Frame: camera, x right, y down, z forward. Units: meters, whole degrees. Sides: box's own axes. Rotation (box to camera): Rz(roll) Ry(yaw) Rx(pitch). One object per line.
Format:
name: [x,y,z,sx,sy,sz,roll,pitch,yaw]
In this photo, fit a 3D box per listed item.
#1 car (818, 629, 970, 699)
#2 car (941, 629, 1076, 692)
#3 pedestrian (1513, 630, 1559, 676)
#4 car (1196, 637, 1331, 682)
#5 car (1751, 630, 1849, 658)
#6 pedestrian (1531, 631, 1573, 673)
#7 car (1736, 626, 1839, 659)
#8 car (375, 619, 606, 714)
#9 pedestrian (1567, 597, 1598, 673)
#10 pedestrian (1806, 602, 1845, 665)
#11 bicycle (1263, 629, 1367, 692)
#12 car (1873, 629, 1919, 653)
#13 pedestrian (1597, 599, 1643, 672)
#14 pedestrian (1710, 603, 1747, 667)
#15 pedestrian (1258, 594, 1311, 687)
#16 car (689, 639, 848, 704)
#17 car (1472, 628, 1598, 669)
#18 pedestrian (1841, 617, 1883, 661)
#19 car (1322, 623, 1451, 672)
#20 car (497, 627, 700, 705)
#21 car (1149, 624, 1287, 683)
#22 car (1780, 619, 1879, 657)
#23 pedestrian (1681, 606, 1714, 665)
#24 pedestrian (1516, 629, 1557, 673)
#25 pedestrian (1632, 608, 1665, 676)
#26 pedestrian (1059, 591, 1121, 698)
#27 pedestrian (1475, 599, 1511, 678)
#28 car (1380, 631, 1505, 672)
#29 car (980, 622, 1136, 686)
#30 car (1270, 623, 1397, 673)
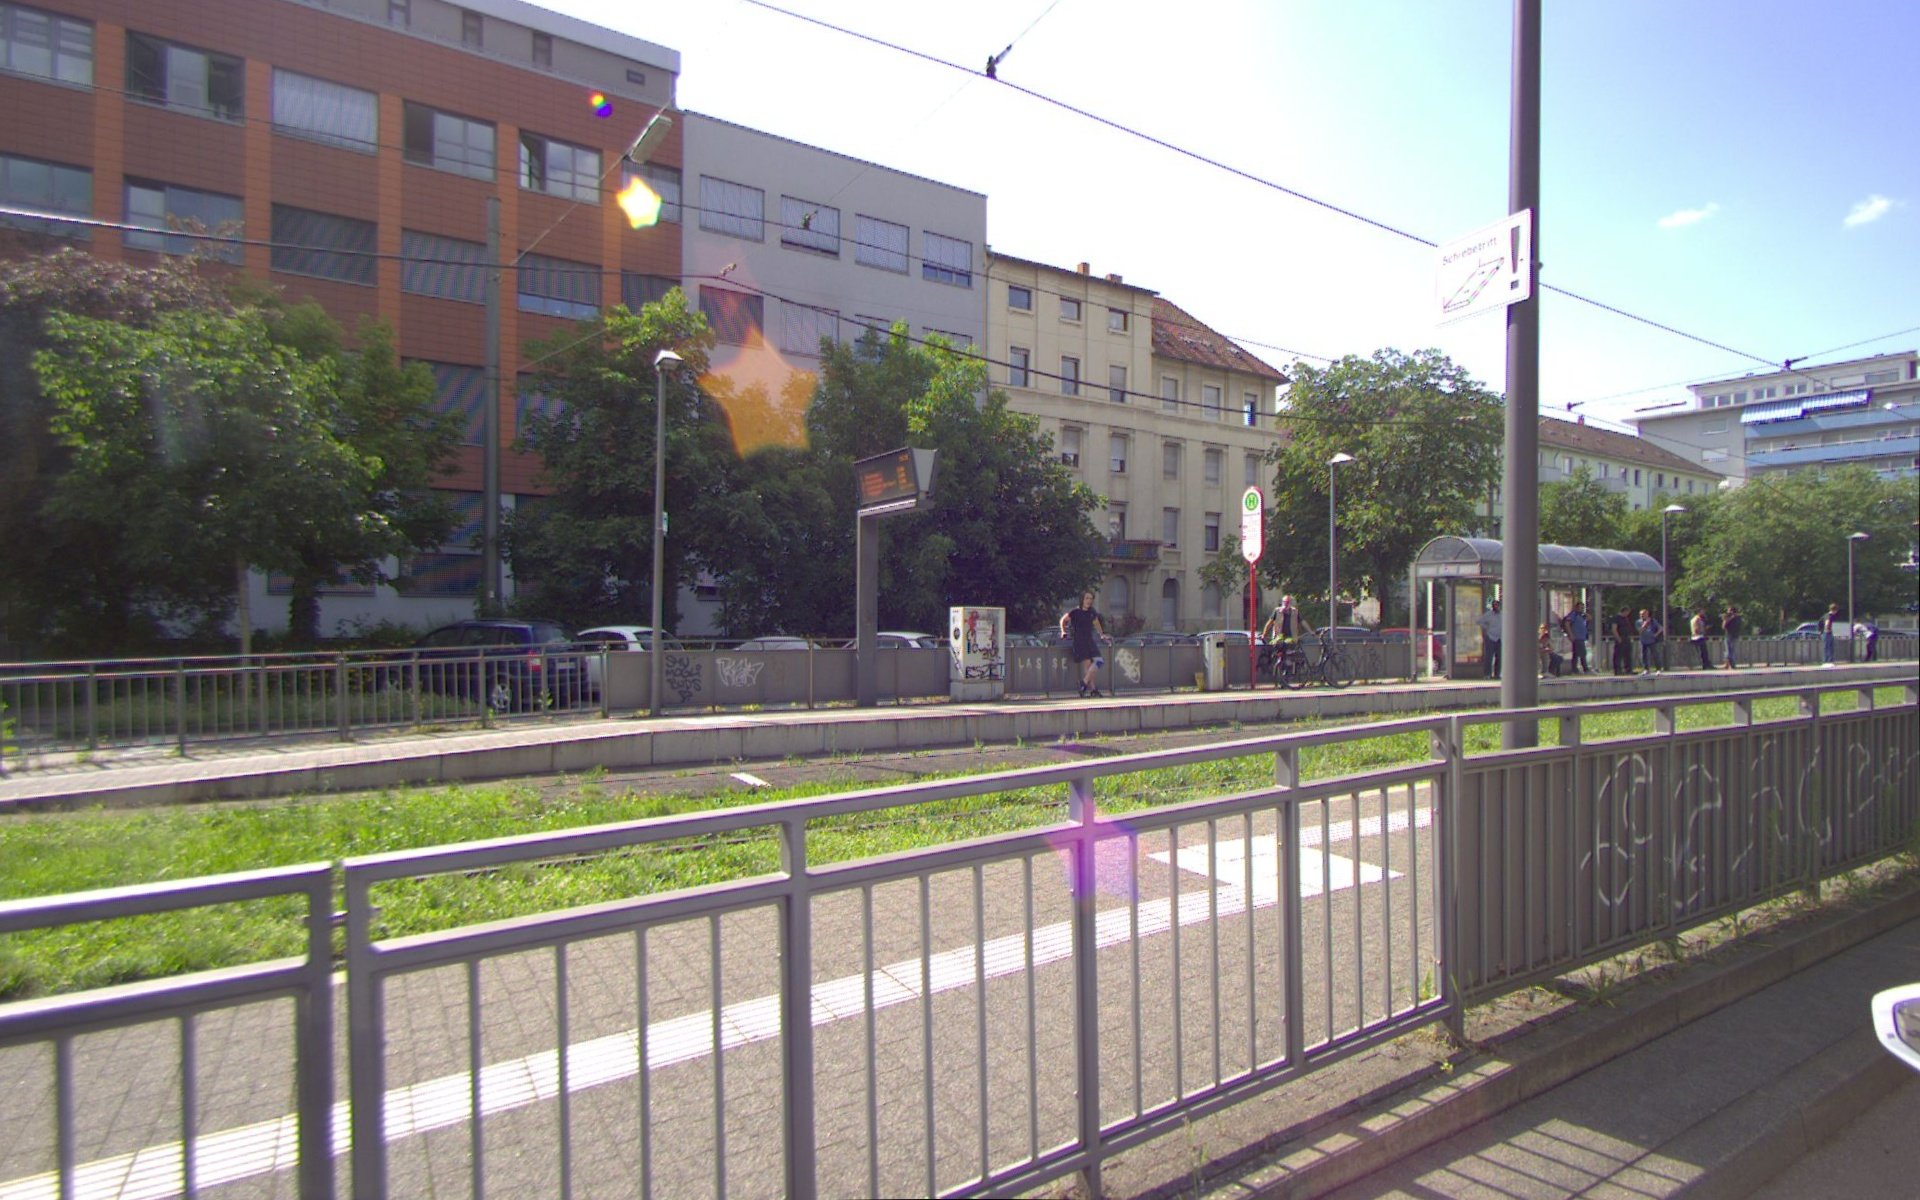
car: [-1.570,1.477,23.988,3.252,1.439,1.583,2,0,28]
car: [1.258,1.521,25.627,3.008,1.428,1.672,2,-2,22]
pedestrian: [13.365,1.229,23.317,0.617,1.044,0.715,1,-3,-35]
car: [9.885,1.907,32.776,3.927,1.165,1.790,2,1,29]
car: [47.132,2.442,56.455,3.924,1.505,1.608,0,-1,25]
pedestrian: [14.409,1.273,24.447,0.557,1.008,0.700,1,-3,-35]
car: [45.044,2.300,54.764,3.922,1.662,1.827,0,0,21]
car: [-9.003,1.213,19.334,3.767,1.680,1.876,0,-1,19]
pedestrian: [15.447,0.876,24.911,0.617,1.851,0.439,1,-2,-35]
pedestrian: [26.714,1.033,30.994,0.631,1.916,0.747,3,-2,-30]
bicycle: [6.580,1.109,18.606,1.851,1.128,0.660,1,-3,-24]
car: [63.544,2.717,66.967,3.599,1.600,1.647,-1,-1,27]
pedestrian: [16.421,0.884,24.979,1.026,1.765,0.628,1,-2,-35]
pedestrian: [21.895,0.997,28.623,0.612,1.777,0.609,1,-1,8]
pedestrian: [6.260,0.782,19.375,0.791,1.747,0.634,2,-2,-35]
car: [-4.300,1.576,22.620,3.190,1.321,1.603,0,-1,23]
car: [23.199,1.964,40.700,4.070,1.585,1.927,0,-2,17]
pedestrian: [32.920,1.422,36.668,0.791,1.599,0.982,2,-2,-35]
car: [15.051,1.655,35.696,4.054,1.661,1.835,0,-2,18]
car: [-7.644,1.342,21.262,3.922,1.516,1.651,0,-1,21]
car: [7.967,1.610,30.970,3.922,1.549,1.672,2,1,21]
car: [49.860,2.143,57.718,3.878,2.097,2.048,-1,-1,27]
pedestrian: [21.609,1.036,29.440,0.618,1.696,0.603,2,-2,-32]
pedestrian: [13.841,1.230,24.112,0.557,1.044,0.649,1,-3,-35]
pedestrian: [17.147,1.036,25.015,0.590,1.654,0.555,-1,-1,44]
pedestrian: [2.159,0.740,16.677,0.791,1.721,0.661,2,-2,-35]
pedestrian: [11.983,0.862,22.586,0.617,1.749,0.483,1,-1,-35]
car: [17.825,1.877,37.271,3.943,1.410,1.816,0,0,17]
car: [2.689,1.461,27.449,3.922,1.661,1.672,-1,-3,22]
car: [12.673,1.599,34.099,3.924,1.589,1.608,0,-1,24]
